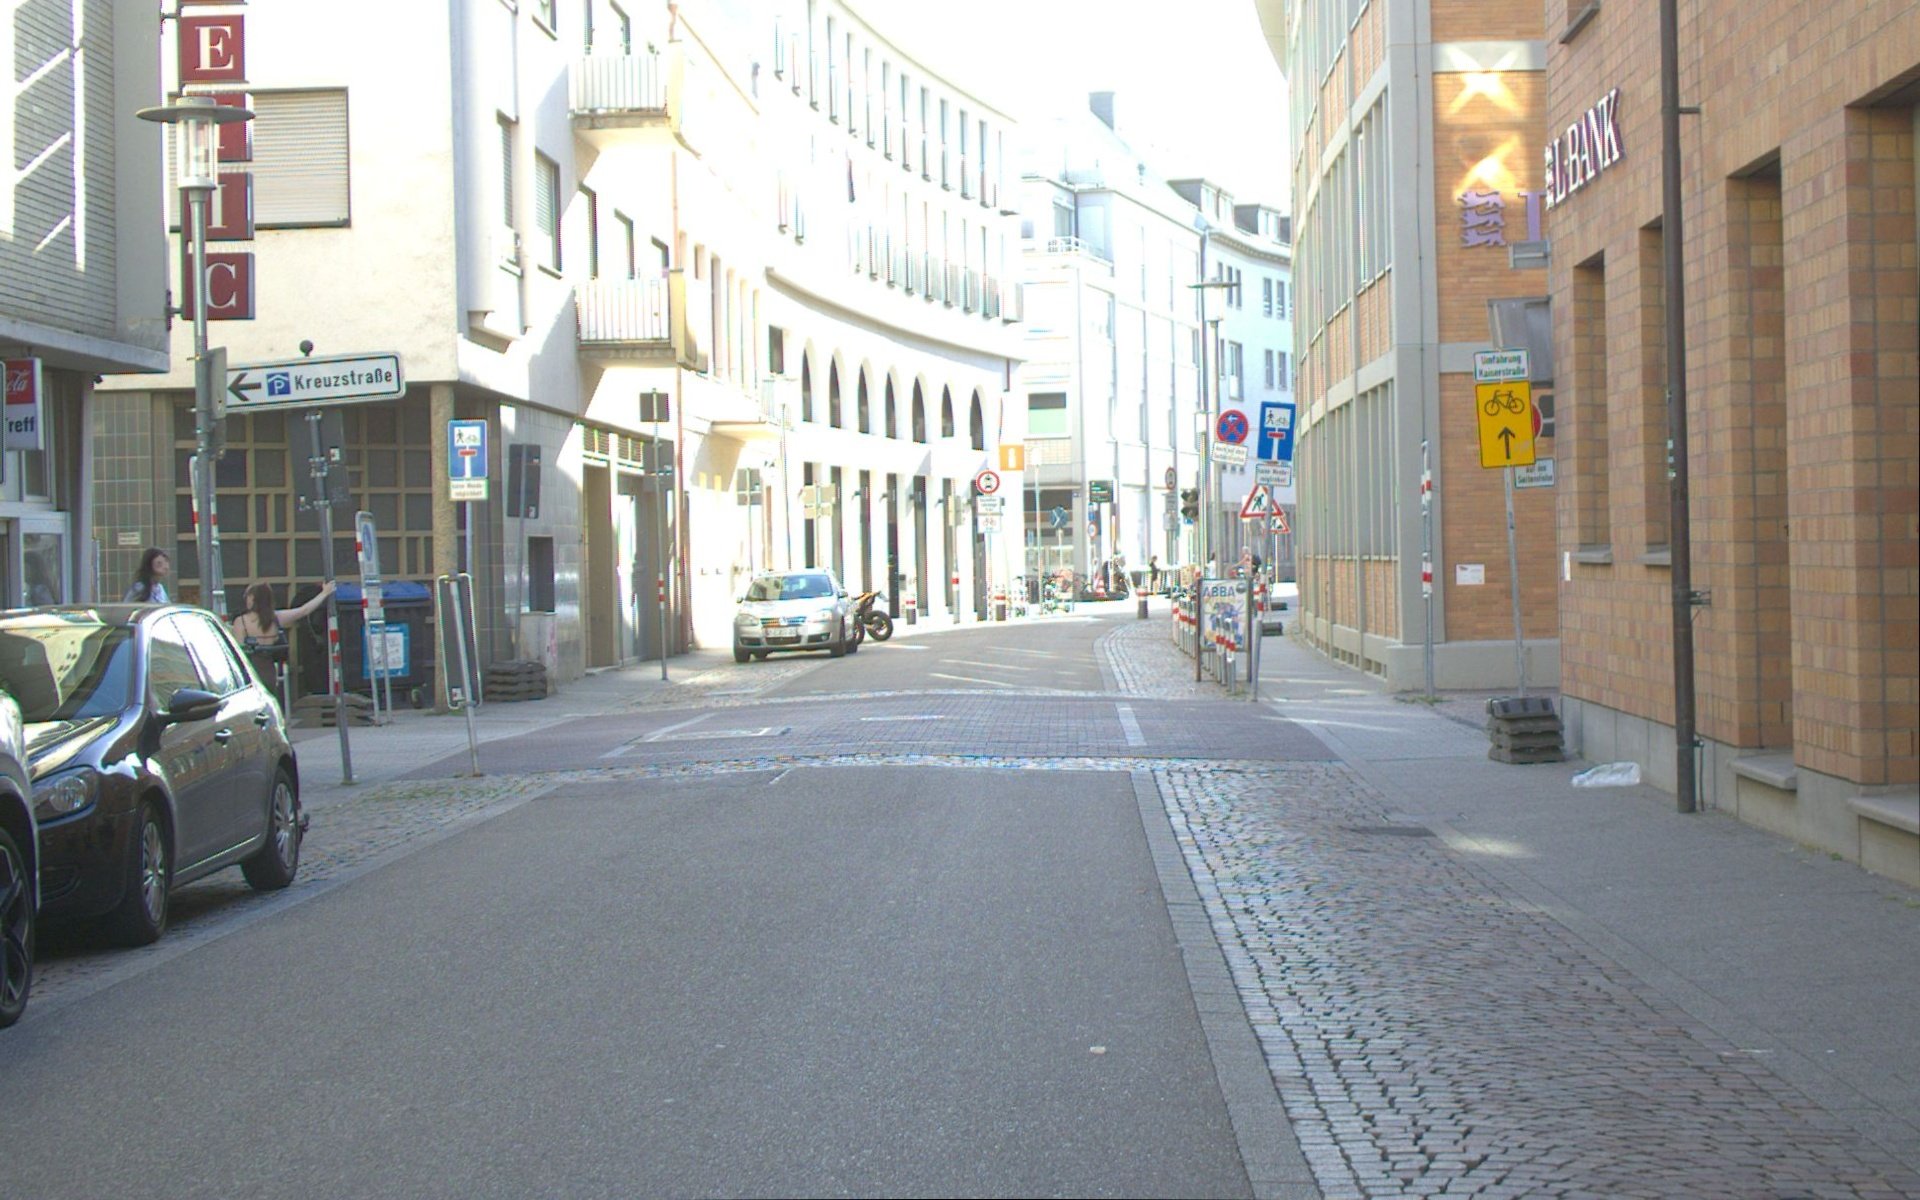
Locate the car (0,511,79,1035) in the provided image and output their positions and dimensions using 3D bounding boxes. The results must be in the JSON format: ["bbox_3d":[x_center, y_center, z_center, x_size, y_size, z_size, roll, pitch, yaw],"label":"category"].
[{"bbox_3d":[-4.183,0.627,10.153,1.890,1.736,4.390,-2,1,1],"label":"car"}]

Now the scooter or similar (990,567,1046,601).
[{"bbox_3d":[1.660,-0.467,97.767,0.526,0.925,2.223,0,1,32],"label":"scooter or similar"}]

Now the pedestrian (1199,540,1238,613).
[{"bbox_3d":[6.695,-0.611,88.969,0.659,1.862,0.786,1,0,-28],"label":"pedestrian"}]

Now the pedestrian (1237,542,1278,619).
[{"bbox_3d":[7.227,-0.467,83.441,0.659,1.862,0.761,1,0,-28],"label":"pedestrian"}]

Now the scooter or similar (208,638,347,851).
[{"bbox_3d":[-4.067,0.848,20.441,0.412,1.194,1.121,-6,1,-27],"label":"scooter or similar"}]

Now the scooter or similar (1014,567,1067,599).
[{"bbox_3d":[2.394,-0.507,101.804,0.526,0.925,2.223,0,1,32],"label":"scooter or similar"}]

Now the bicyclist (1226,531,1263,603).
[{"bbox_3d":[9.532,-1.107,115.243,1.091,2.381,0.741,1,0,15],"label":"bicyclist"}]

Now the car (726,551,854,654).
[{"bbox_3d":[-2.721,0.020,55.665,1.736,1.600,3.532,0,1,2],"label":"car"}]

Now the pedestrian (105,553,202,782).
[{"bbox_3d":[-6.189,0.510,26.379,0.448,1.732,0.552,-1,1,25],"label":"pedestrian"}]

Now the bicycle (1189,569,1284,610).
[{"bbox_3d":[9.268,-0.363,115.311,3.090,1.349,0.701,1,0,15],"label":"bicycle"}]

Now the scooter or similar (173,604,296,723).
[{"bbox_3d":[-7.696,0.670,36.488,1.157,1.202,0.480,-2,1,2],"label":"scooter or similar"}]

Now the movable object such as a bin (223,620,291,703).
[{"bbox_3d":[-7.793,0.678,38.115,0.536,0.899,0.525,1,0,-45],"label":"movable object such as a bin"}]

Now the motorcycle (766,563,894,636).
[{"bbox_3d":[-2.534,-0.011,67.031,2.391,1.312,0.862,-2,1,2],"label":"motorcycle"}]

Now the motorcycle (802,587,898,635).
[{"bbox_3d":[-2.019,0.207,63.282,1.691,0.856,0.594,1,0,7],"label":"motorcycle"}]

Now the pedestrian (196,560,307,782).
[{"bbox_3d":[-5.268,0.517,25.562,0.645,1.620,0.457,-2,1,-40],"label":"pedestrian"}]

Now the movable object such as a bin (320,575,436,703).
[{"bbox_3d":[-6.573,0.434,38.820,0.932,1.415,0.884,1,0,-45],"label":"movable object such as a bin"}]

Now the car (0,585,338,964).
[{"bbox_3d":[-4.148,0.729,15.807,1.648,1.455,3.999,-4,1,2],"label":"car"}]
